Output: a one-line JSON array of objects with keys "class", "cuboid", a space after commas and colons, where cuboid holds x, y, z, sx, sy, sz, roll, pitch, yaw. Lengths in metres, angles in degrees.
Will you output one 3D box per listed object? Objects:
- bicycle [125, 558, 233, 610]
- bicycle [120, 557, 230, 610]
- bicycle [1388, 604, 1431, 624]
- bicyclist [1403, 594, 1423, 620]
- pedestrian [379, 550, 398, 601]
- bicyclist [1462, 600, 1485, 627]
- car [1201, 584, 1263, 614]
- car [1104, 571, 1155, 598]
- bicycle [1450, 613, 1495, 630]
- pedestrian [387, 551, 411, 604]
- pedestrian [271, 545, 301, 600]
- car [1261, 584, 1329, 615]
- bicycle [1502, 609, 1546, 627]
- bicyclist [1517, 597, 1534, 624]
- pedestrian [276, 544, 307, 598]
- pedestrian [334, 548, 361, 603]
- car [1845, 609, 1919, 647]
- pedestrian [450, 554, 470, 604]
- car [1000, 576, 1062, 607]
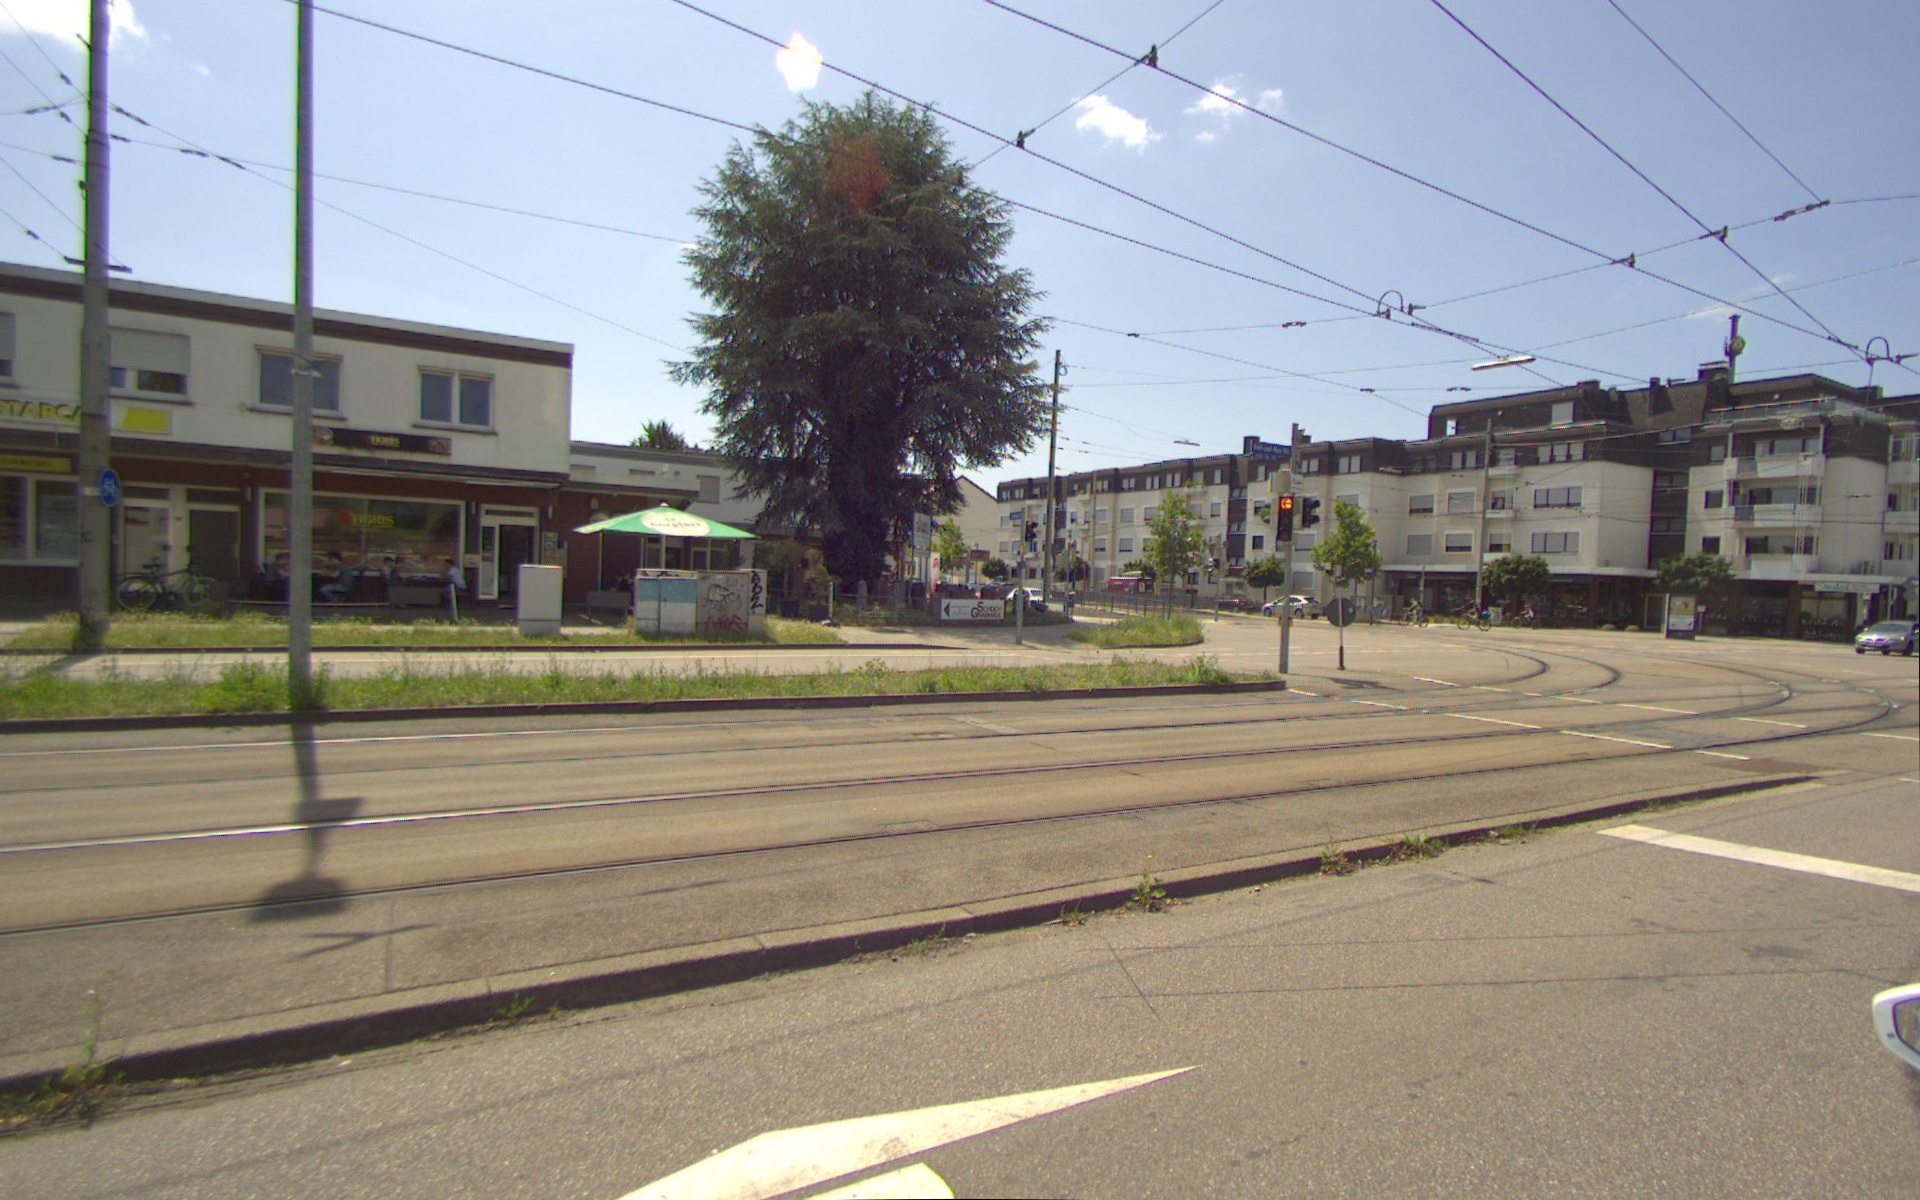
[{"class": "bicycle", "cuboid": [-16.794, -0.339, 21.631, 1.779, 1.055, 0.396, 2, 1, -29]}, {"class": "bicycle", "cuboid": [-16.586, -0.334, 21.264, 1.779, 1.055, 0.396, 2, 1, -29]}, {"class": "bicycle", "cuboid": [26.207, 0.799, 58.582, 2.226, 1.115, 0.514, 2, -1, 44]}, {"class": "bicyclist", "cuboid": [26.355, 0.401, 58.457, 0.841, 1.507, 0.733, 2, -1, 42]}, {"class": "pedestrian", "cuboid": [-14.459, -0.627, 25.403, 0.396, 1.263, 0.384, 1, 1, -30]}, {"class": "bicyclist", "cuboid": [28.731, 0.767, 56.192, 0.950, 1.441, 0.628, 2, 0, 42]}, {"class": "car", "cuboid": [19.621, -0.055, 72.557, 1.978, 2.040, 3.965, 2, -1, -32]}, {"class": "car", "cuboid": [13.763, -1.253, 81.779, 1.975, 2.041, 3.970, 2, 1, -28]}, {"class": "bicycle", "cuboid": [28.671, 1.193, 56.223, 2.225, 0.893, 0.416, 2, -1, 43]}, {"class": "pedestrian", "cuboid": [-13.830, -0.554, 24.774, 0.496, 1.285, 0.317, 1, 1, -30]}, {"class": "pedestrian", "cuboid": [-15.840, -0.643, 23.602, 0.526, 1.285, 0.351, 1, 1, -30]}, {"class": "car", "cuboid": [22.297, -0.050, 66.960, 1.978, 1.938, 3.965, 1, 1, -32]}, {"class": "bicycle", "cuboid": [32.676, 1.033, 58.226, 2.217, 0.947, 0.670, 2, -1, 31]}, {"class": "bicyclist", "cuboid": [32.782, 0.619, 58.220, 0.834, 1.487, 0.655, 2, 0, 31]}, {"class": "pedestrian", "cuboid": [-16.132, -0.694, 24.255, 0.573, 1.285, 0.350, 1, 1, -30]}, {"class": "pedestrian", "cuboid": [-14.782, -0.588, 24.247, 0.521, 1.285, 0.343, 1, 1, -28]}, {"class": "car", "cuboid": [40.129, 1.195, 43.529, 4.365, 1.491, 1.977, 1, 1, -40]}, {"class": "pedestrian", "cuboid": [-13.015, -0.541, 26.144, 0.447, 1.285, 0.339, 1, 1, -28]}, {"class": "car", "cuboid": [4.192, -0.499, 59.689, 1.877, 1.747, 3.825, 2, -1, -29]}]
